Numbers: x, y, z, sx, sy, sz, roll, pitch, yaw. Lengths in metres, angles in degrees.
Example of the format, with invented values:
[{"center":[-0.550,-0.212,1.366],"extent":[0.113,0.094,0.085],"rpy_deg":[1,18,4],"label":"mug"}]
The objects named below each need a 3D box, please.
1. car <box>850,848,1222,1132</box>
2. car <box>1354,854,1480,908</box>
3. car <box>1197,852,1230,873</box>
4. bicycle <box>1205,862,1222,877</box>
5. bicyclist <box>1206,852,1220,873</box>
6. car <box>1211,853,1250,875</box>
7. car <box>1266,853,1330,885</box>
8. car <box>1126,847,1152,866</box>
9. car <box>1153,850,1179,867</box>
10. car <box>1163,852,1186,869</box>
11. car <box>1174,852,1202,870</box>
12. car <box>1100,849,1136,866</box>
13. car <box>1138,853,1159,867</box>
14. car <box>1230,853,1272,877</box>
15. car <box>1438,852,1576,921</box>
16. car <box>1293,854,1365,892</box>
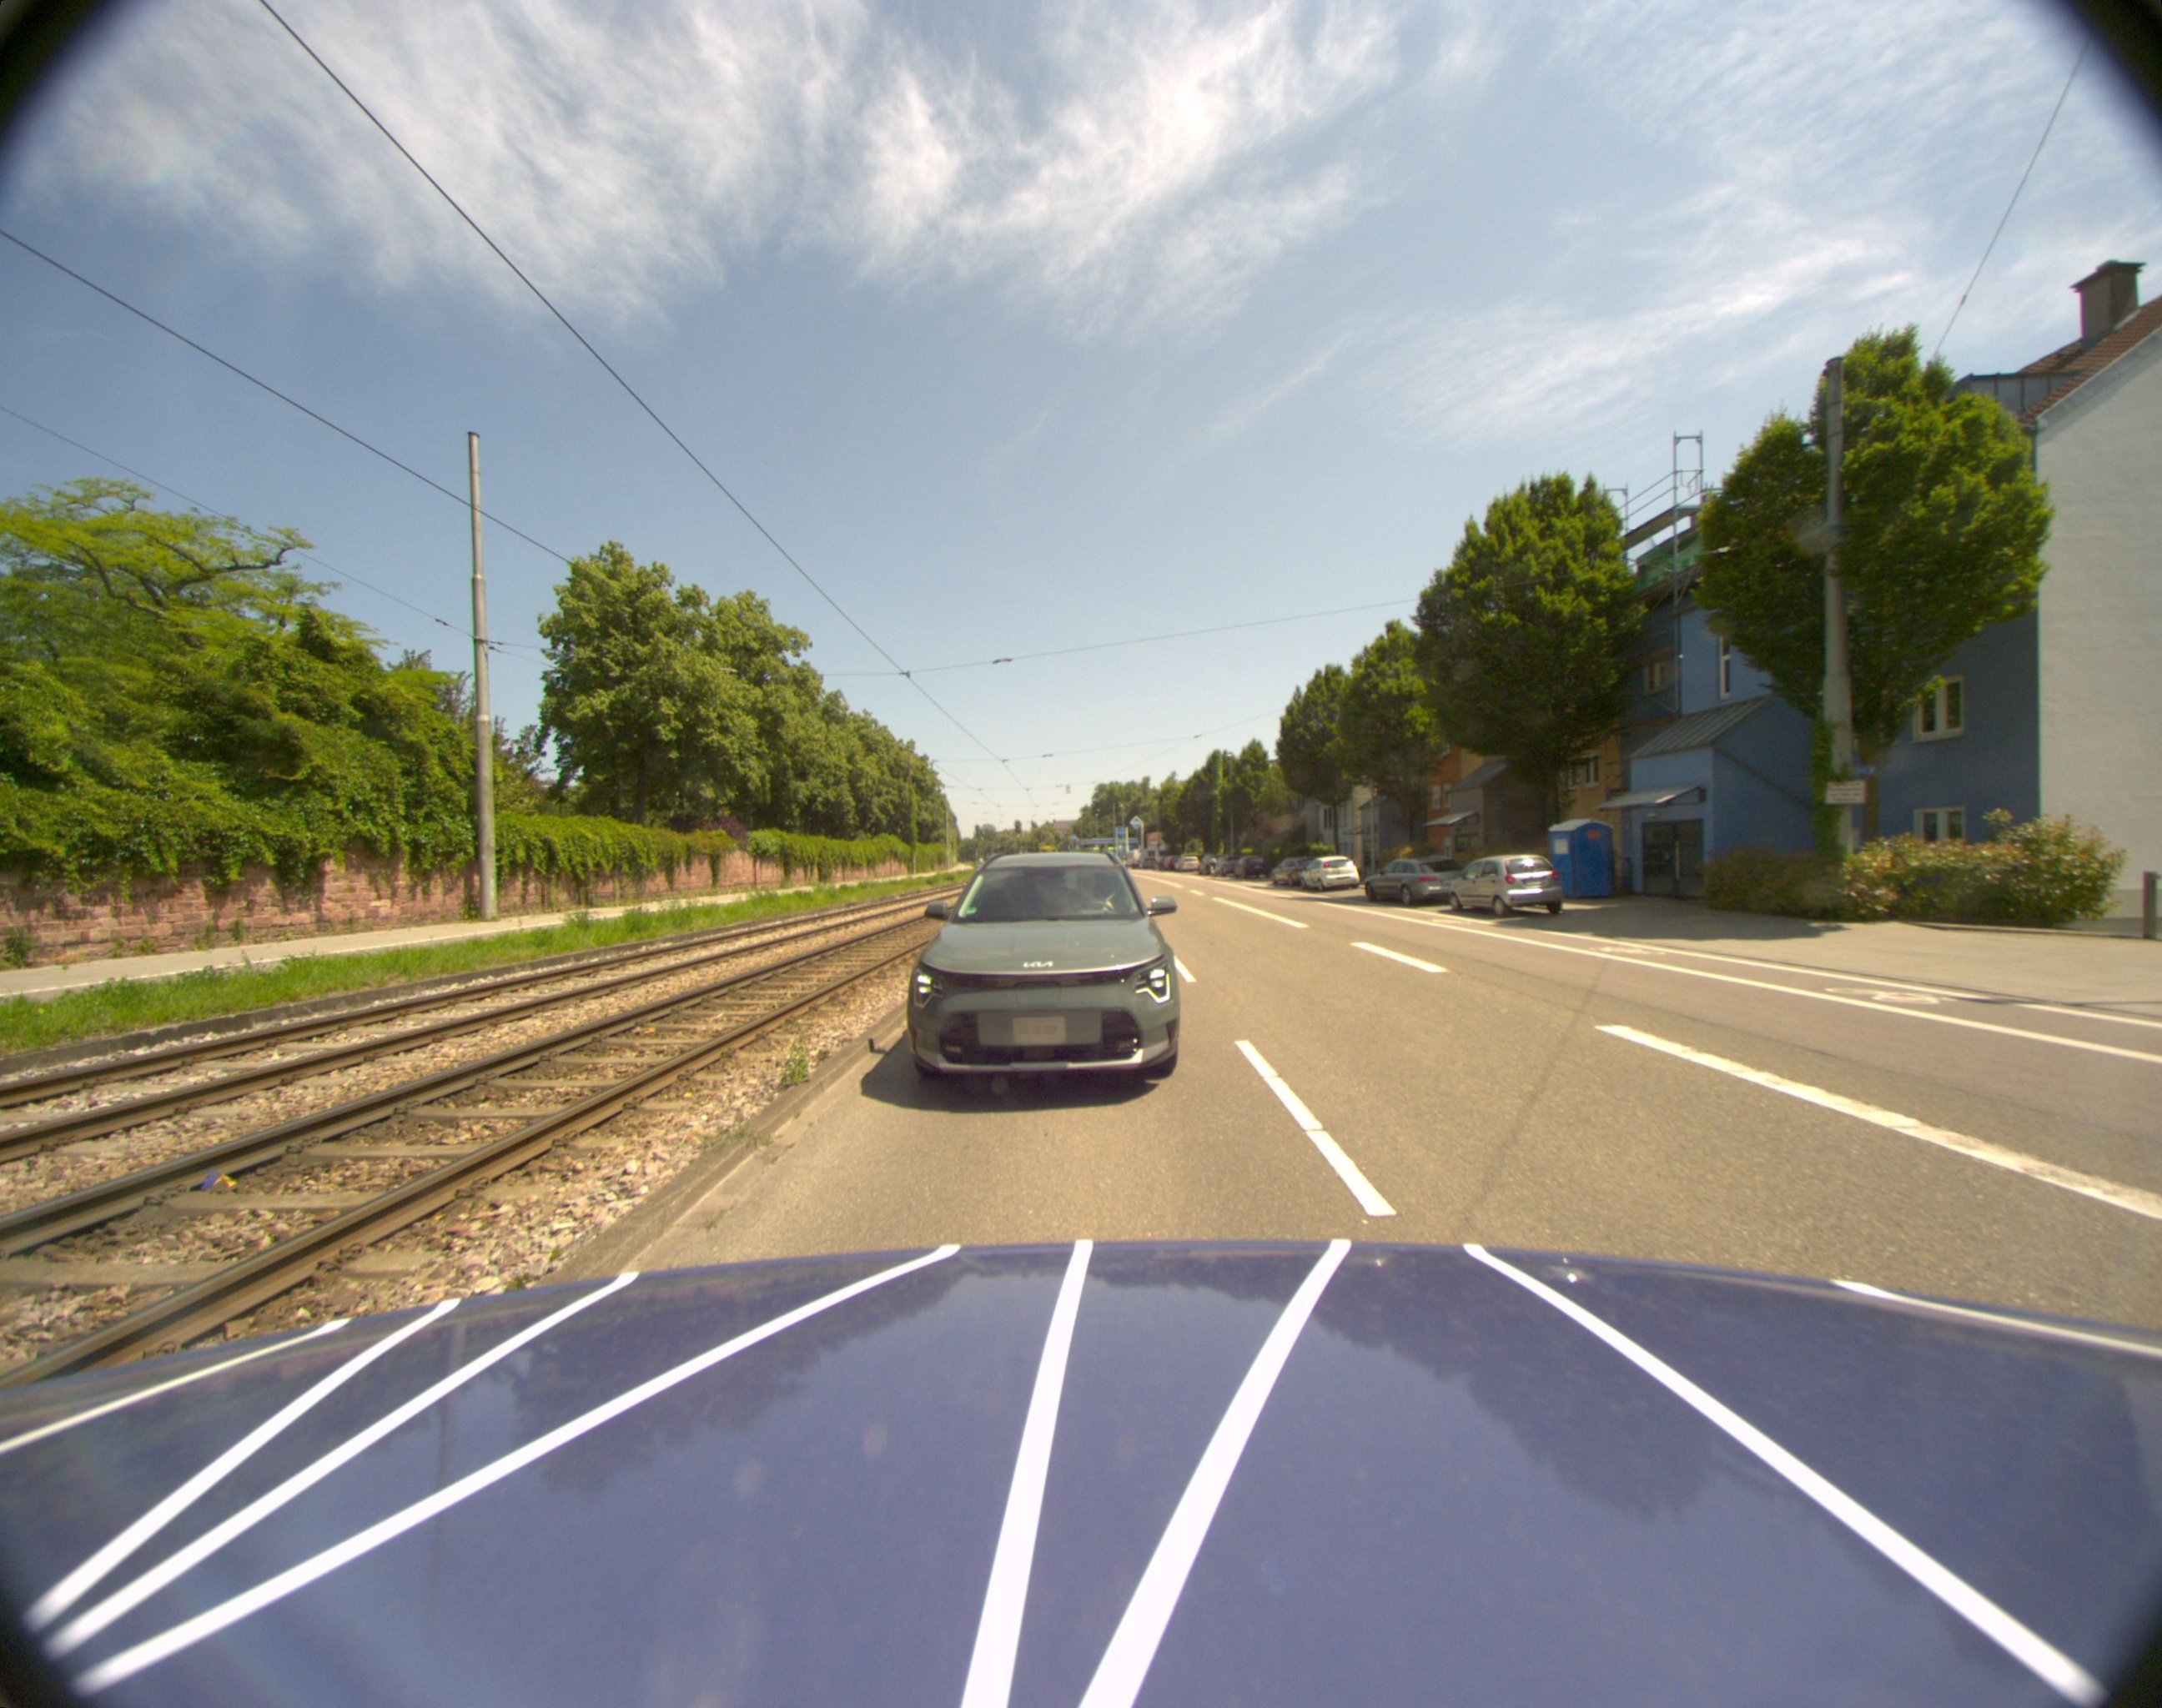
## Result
[{"center":[-0.162,0.796,6.370],"extent":[2.062,1.534,4.001],"rpy_deg":[-3,0,3],"label":"car"},{"center":[10.967,0.841,25.306],"extent":[1.791,1.441,5.133],"rpy_deg":[-5,-1,0],"label":"car"},{"center":[10.914,0.689,62.786],"extent":[1.772,1.579,4.147],"rpy_deg":[-3,0,-3],"label":"car"},{"center":[9.020,1.057,51.810],"extent":[0.703,0.945,2.243],"rpy_deg":[1,-1,-2],"label":"bicycle"},{"center":[8.991,0.563,51.782],"extent":[0.737,1.422,1.124],"rpy_deg":[2,0,-2],"label":"bicyclist"},{"center":[11.174,0.719,56.966],"extent":[1.830,1.487,4.756],"rpy_deg":[-3,0,-1],"label":"car"},{"center":[11.500,0.765,40.575],"extent":[1.708,1.421,4.750],"rpy_deg":[-6,0,-3],"label":"car"},{"center":[7.636,0.383,100.140],"extent":[2.285,2.294,5.226],"rpy_deg":[-3,0,-8],"label":"car"},{"center":[9.491,0.522,85.207],"extent":[1.999,1.783,4.556],"rpy_deg":[-2,0,-5],"label":"car"},{"center":[9.822,0.694,79.999],"extent":[1.604,1.584,3.680],"rpy_deg":[-3,0,-6],"label":"car"},{"center":[10.432,0.661,74.108],"extent":[1.845,1.573,4.495],"rpy_deg":[-3,0,-2],"label":"car"},{"center":[5.903,0.574,121.408],"extent":[5.219,2.294,2.288],"rpy_deg":[-3,0,16],"label":"car"},{"center":[8.293,0.774,94.107],"extent":[1.870,1.528,4.142],"rpy_deg":[-3,0,-4],"label":"car"},{"center":[11.505,0.714,51.676],"extent":[1.754,1.424,4.257],"rpy_deg":[-4,0,0],"label":"car"},{"center":[11.033,0.782,19.969],"extent":[1.597,1.487,3.448],"rpy_deg":[-6,0,1],"label":"car"},{"center":[11.380,0.827,35.167],"extent":[1.750,1.434,4.420],"rpy_deg":[-6,0,0],"label":"car"}]
